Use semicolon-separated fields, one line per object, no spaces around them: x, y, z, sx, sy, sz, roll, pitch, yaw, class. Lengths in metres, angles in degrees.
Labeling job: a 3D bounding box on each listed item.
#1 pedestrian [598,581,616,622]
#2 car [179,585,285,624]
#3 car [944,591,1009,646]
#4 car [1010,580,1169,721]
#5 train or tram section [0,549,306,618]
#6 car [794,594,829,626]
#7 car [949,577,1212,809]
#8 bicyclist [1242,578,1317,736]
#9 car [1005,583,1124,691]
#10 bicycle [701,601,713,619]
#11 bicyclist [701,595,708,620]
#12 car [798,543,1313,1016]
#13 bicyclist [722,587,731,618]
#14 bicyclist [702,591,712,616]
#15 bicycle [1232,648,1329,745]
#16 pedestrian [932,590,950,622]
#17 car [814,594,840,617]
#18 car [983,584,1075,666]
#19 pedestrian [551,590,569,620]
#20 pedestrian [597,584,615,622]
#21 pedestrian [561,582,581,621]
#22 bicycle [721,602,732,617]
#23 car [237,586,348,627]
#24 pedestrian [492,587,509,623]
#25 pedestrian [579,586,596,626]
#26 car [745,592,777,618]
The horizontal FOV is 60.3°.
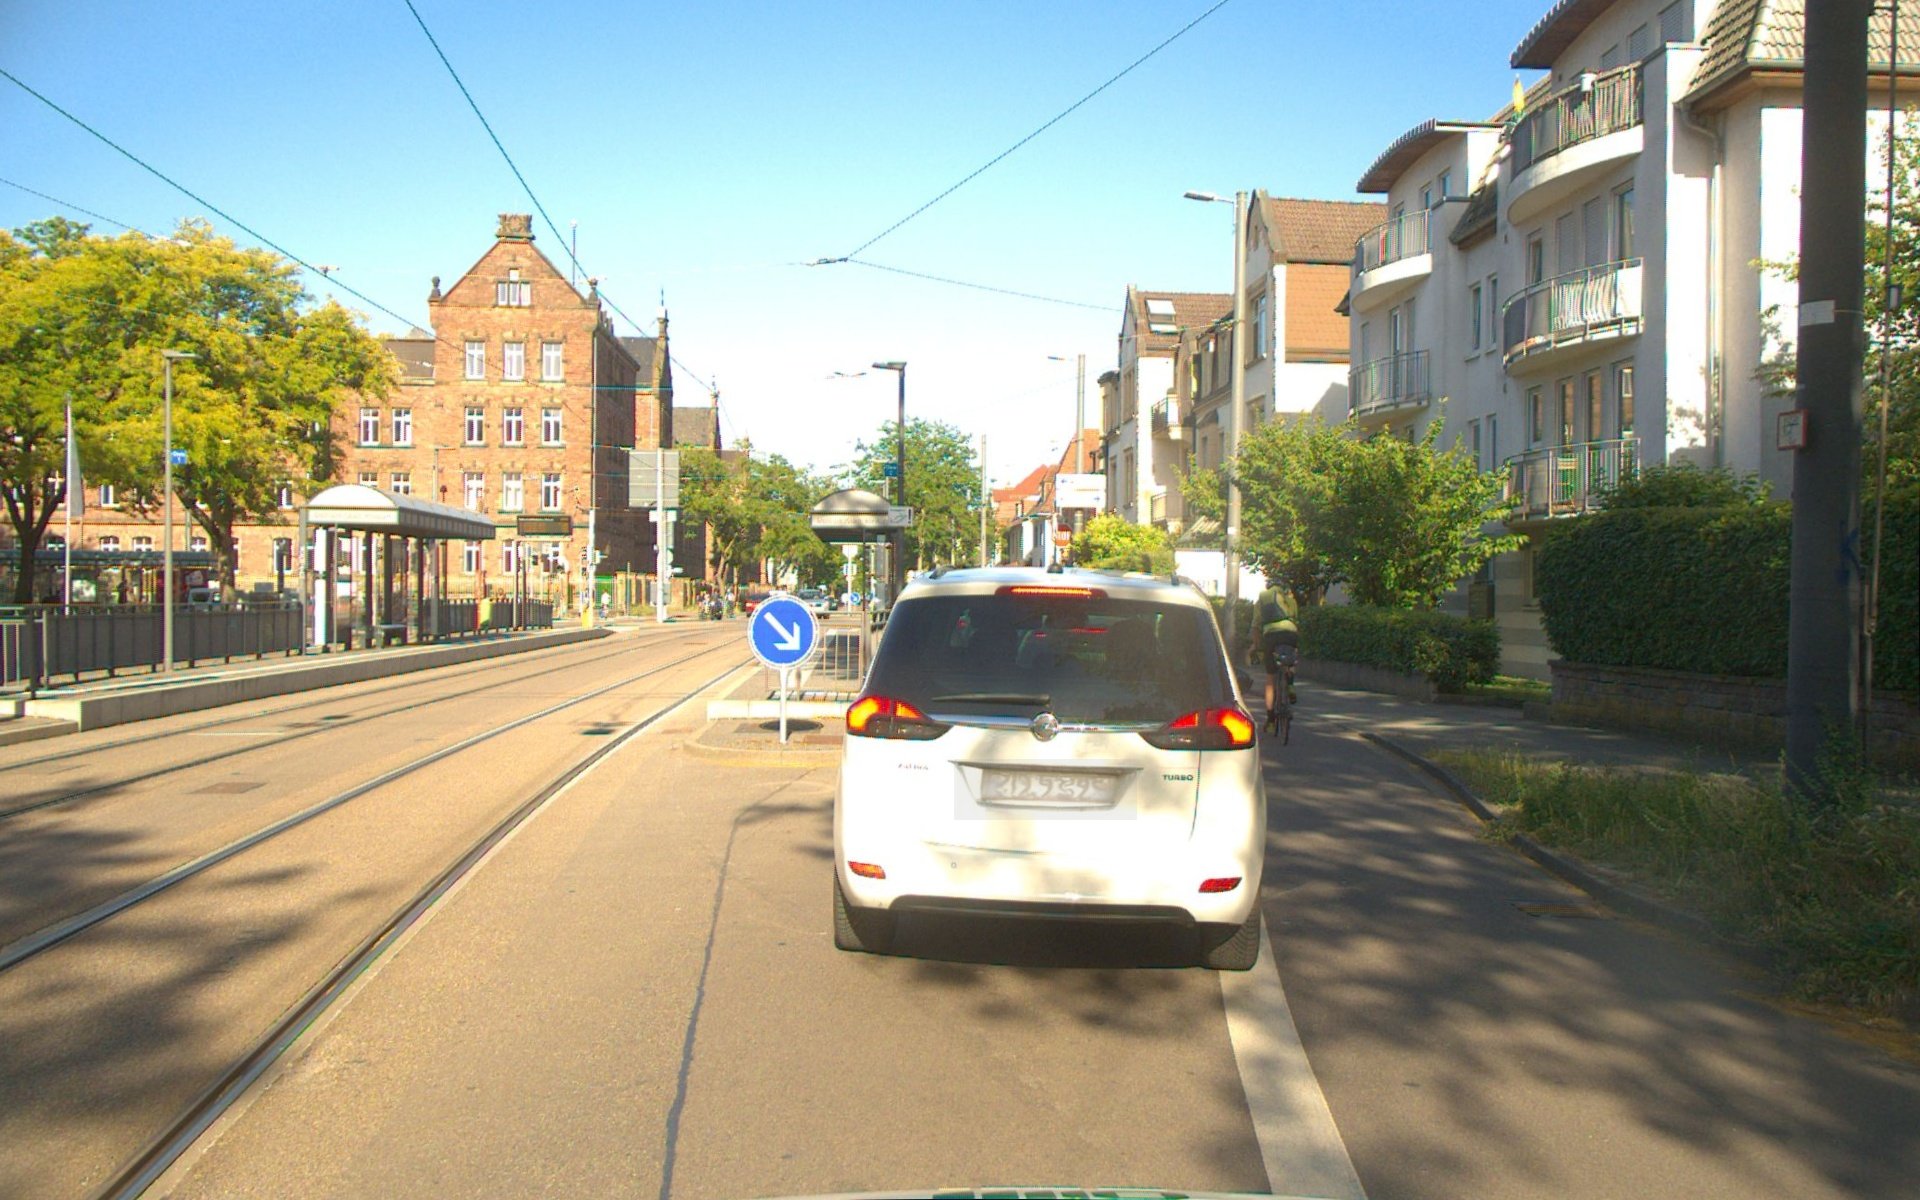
-18.086;0.086;84.686;0.782;2.049;0.717;1;-1;-18;pedestrian
-32.449;0.220;73.812;3.908;1.658;1.817;1;0;-4;car
0.503;0.553;53.079;1.869;1.690;3.998;0;0;-2;car
1.753;0.586;21.622;1.866;1.653;4.003;0;0;6;car
-40.752;-0.761;79.413;17.048;3.210;3.343;0;0;-6;train or tram section
-8.527;0.577;94.693;1.714;1.746;3.992;1;0;-9;car
1.073;0.649;13.771;1.866;1.625;4.003;0;0;6;car
3.483;0.612;18.089;0.662;1.687;0.745;0;0;-1;bicyclist
1.792;0.577;28.283;1.867;1.690;4.002;0;0;4;car
-15.558;0.636;101.738;0.498;1.096;1.738;1;0;-1;bicycle
-15.103;0.444;97.727;0.307;1.469;0.384;1;-1;-1;bicyclist
0.555;0.633;8.019;1.866;1.690;4.003;0;0;6;car
-15.301;0.153;108.352;0.478;2.049;0.502;1;-1;-1;bicyclist
-15.541;0.222;101.649;0.520;1.503;0.572;1;-1;-1;bicyclist
3.486;1.028;18.122;0.662;0.941;1.885;0;0;-1;bicycle
-1.157;0.362;101.626;0.792;1.934;0.743;1;-1;27;pedestrian
-10.365;0.433;128.895;1.711;1.746;3.999;1;0;-1;car
1.448;0.503;36.116;1.868;1.690;4.000;0;0;0;car
-22.087;0.277;91.340;0.642;1.640;0.709;1;-1;31;pedestrian
-19.616;0.162;91.635;0.786;2.049;0.713;1;-1;-30;pedestrian
-20.694;0.081;87.988;0.788;2.049;0.712;1;-1;-34;pedestrian
-15.313;0.599;108.407;0.477;0.988;1.405;1;0;-1;bicycle
-28.117;0.267;69.739;3.908;1.658;1.817;1;0;-4;car
-22.696;0.248;81.755;0.754;1.805;0.717;1;-1;-18;pedestrian
-18.928;0.305;83.959;0.781;2.049;1.042;1;-1;-15;pedestrian
-13.596;0.343;112.953;1.711;1.746;3.999;1;0;-1;car
